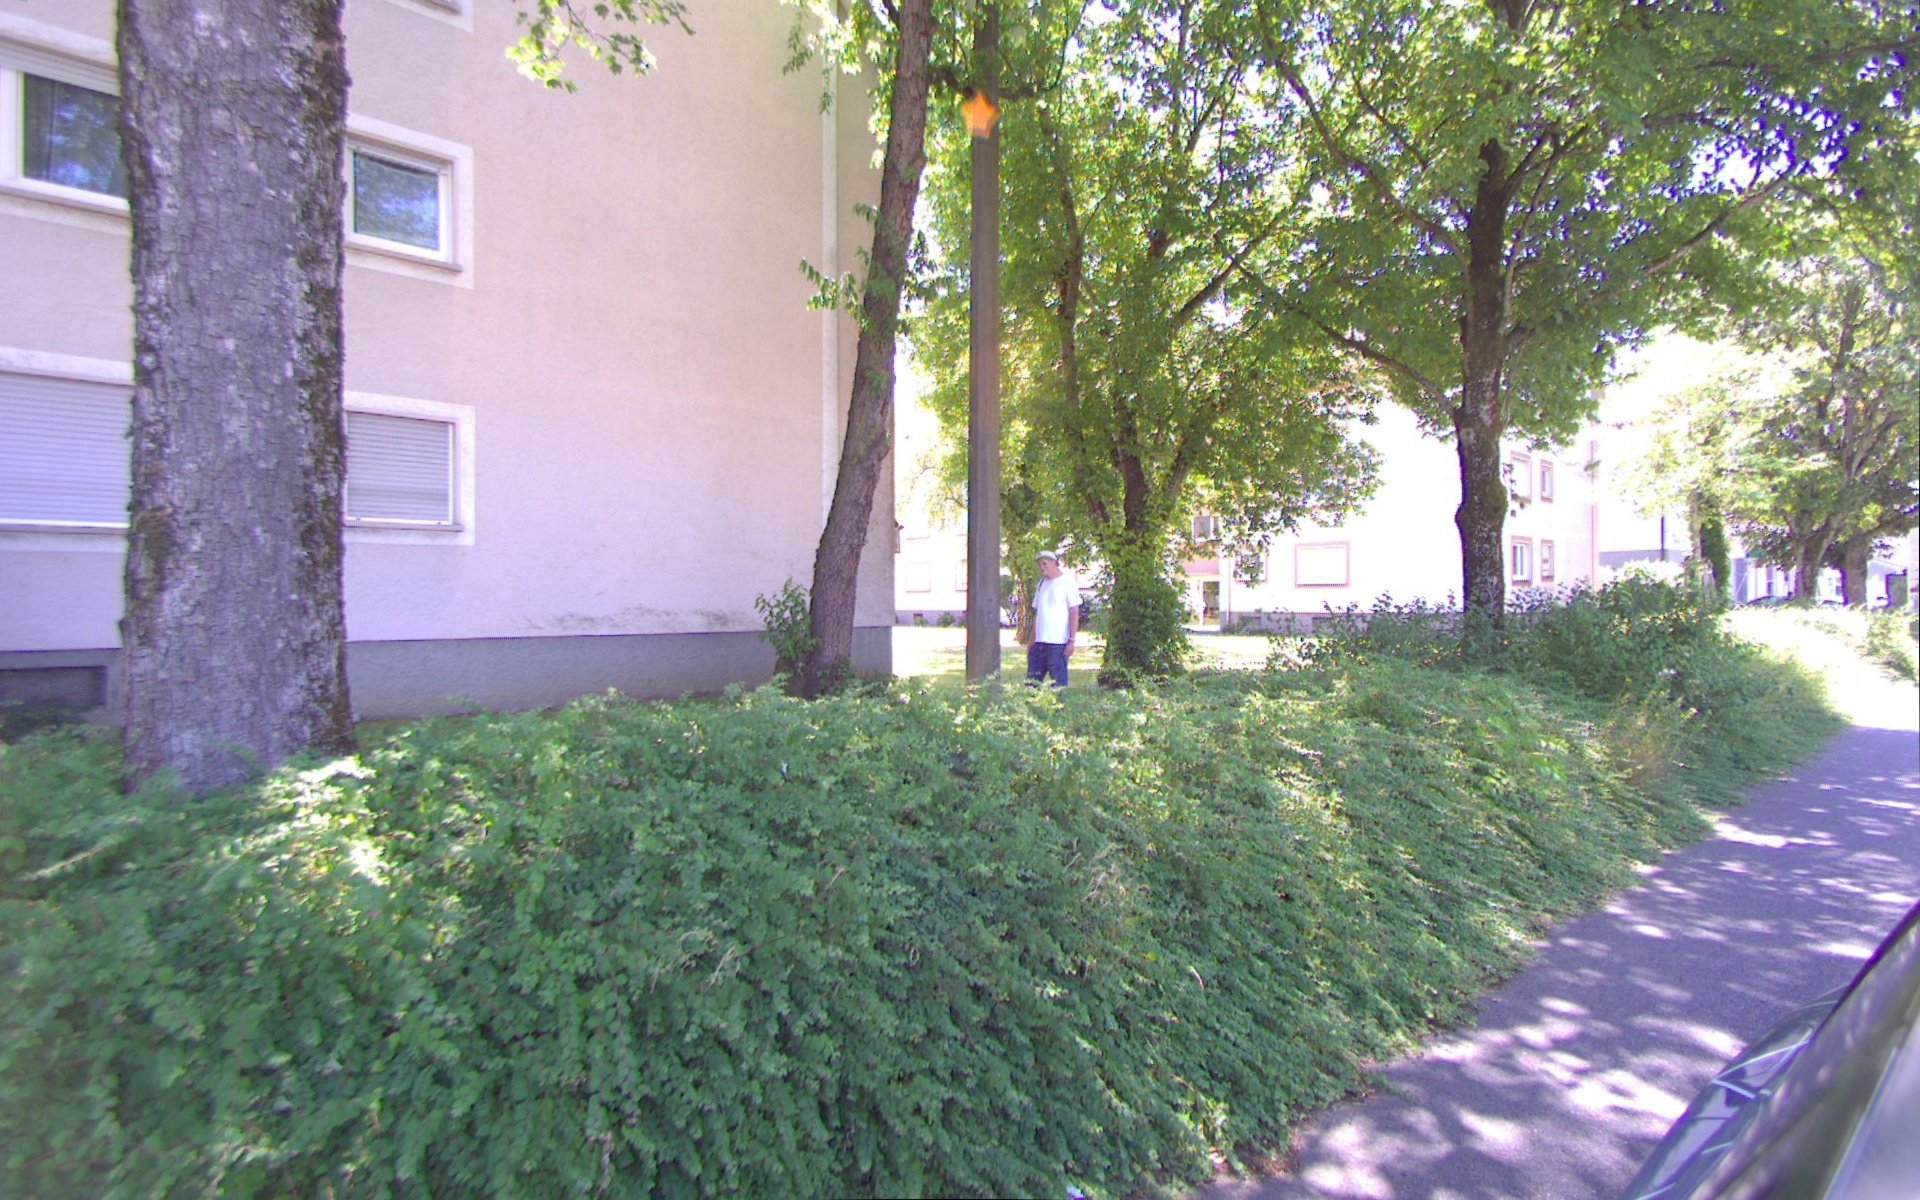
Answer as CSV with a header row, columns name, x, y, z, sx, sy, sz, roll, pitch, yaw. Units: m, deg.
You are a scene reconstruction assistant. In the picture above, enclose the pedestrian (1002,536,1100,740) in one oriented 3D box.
name,x,y,z,sx,sy,sz,roll,pitch,yaw
pedestrian,0.905,0.348,9.949,0.668,1.897,0.894,-1,0,28
